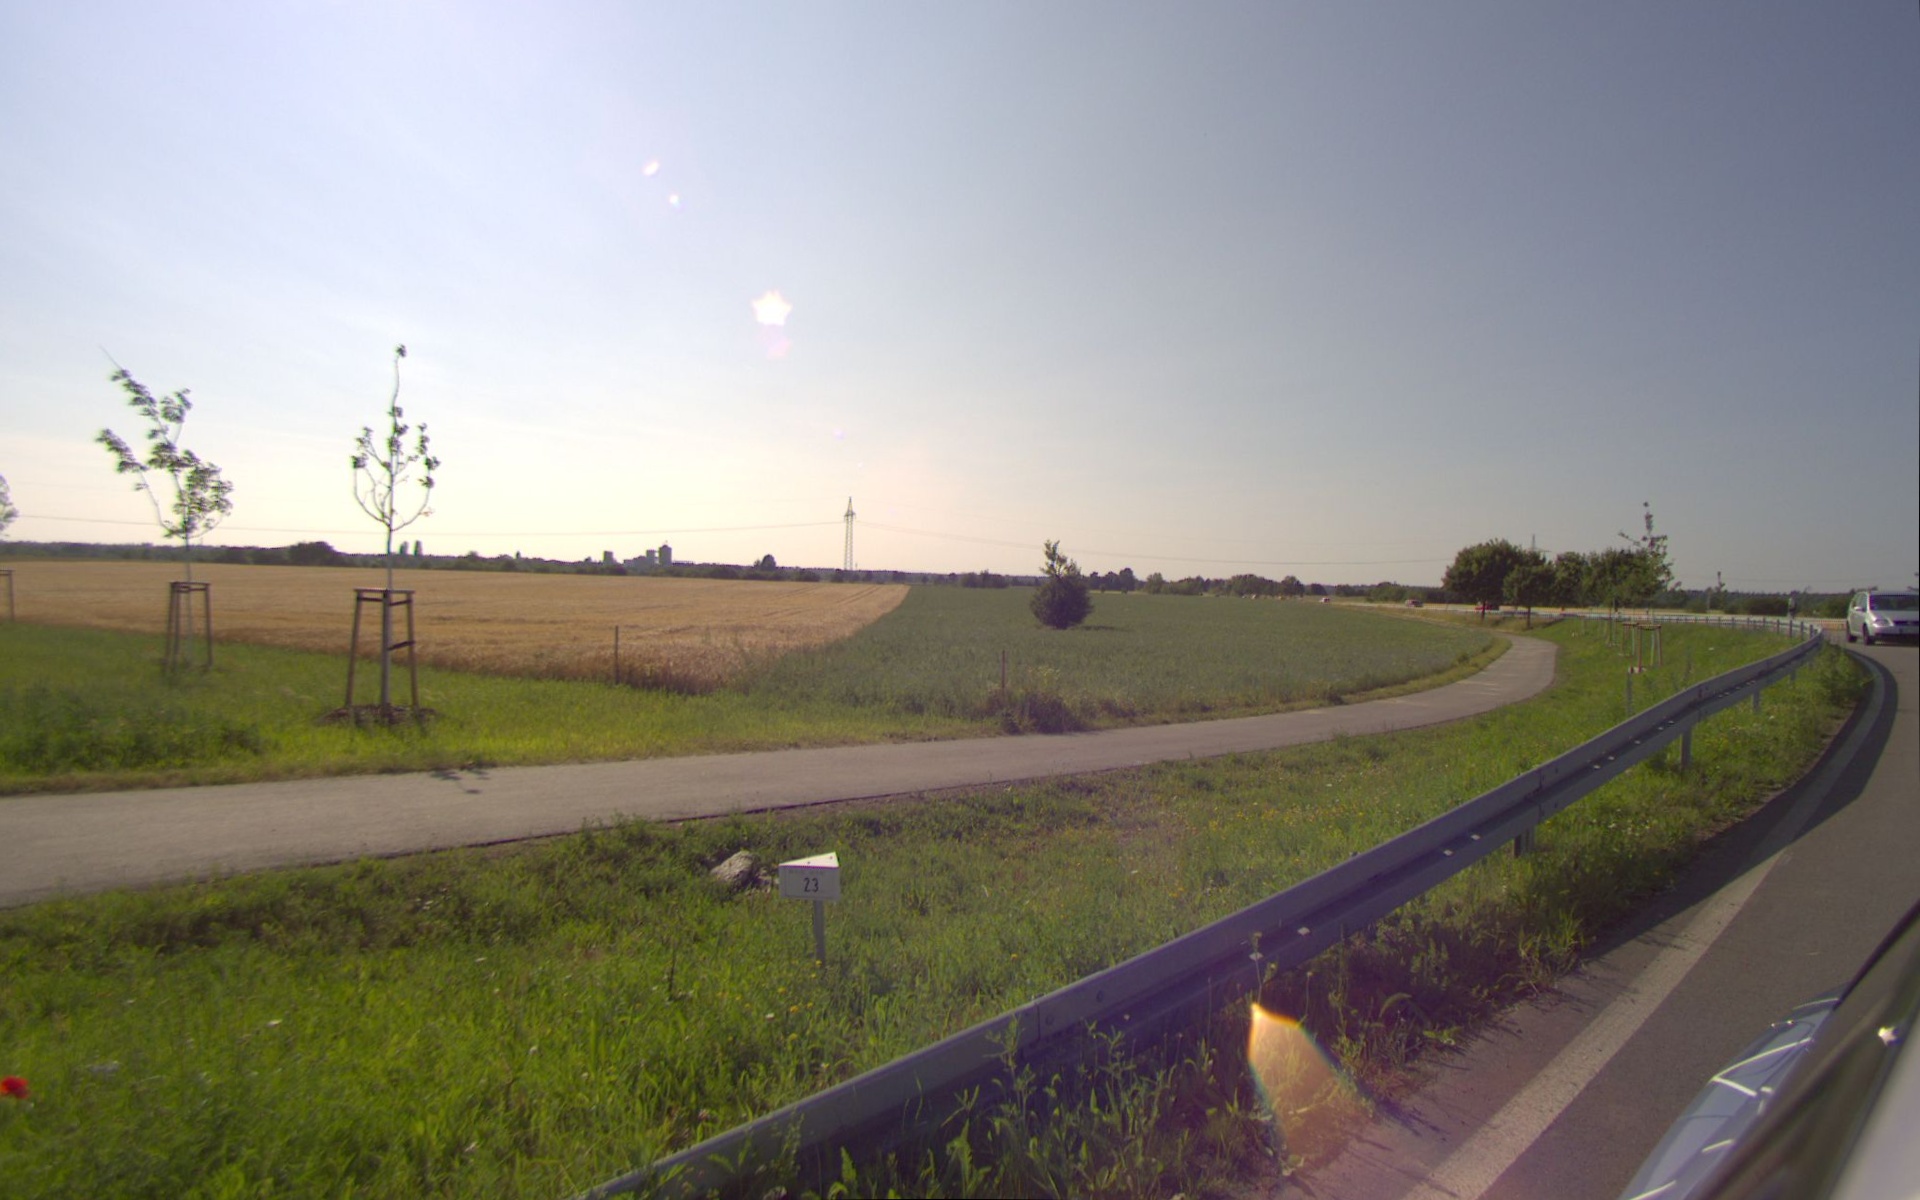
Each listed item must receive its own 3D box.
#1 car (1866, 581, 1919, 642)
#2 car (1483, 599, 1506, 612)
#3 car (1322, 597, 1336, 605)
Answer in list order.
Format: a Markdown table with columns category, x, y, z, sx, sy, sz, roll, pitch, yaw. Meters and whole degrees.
| category | x | y | z | sx | sy | sz | roll | pitch | yaw |
| --- | --- | --- | --- | --- | --- | --- | --- | --- | --- |
| car | 28.209 | 0.307 | 29.913 | 1.746 | 1.716 | 4.159 | 0 | 0 | 37 |
| car | 74.083 | 0.736 | 140.293 | 1.787 | 1.694 | 3.985 | 0 | 0 | 12 |
| car | 86.860 | 0.199 | 238.212 | 1.965 | 1.779 | 3.993 | 1 | 0 | 6 |
